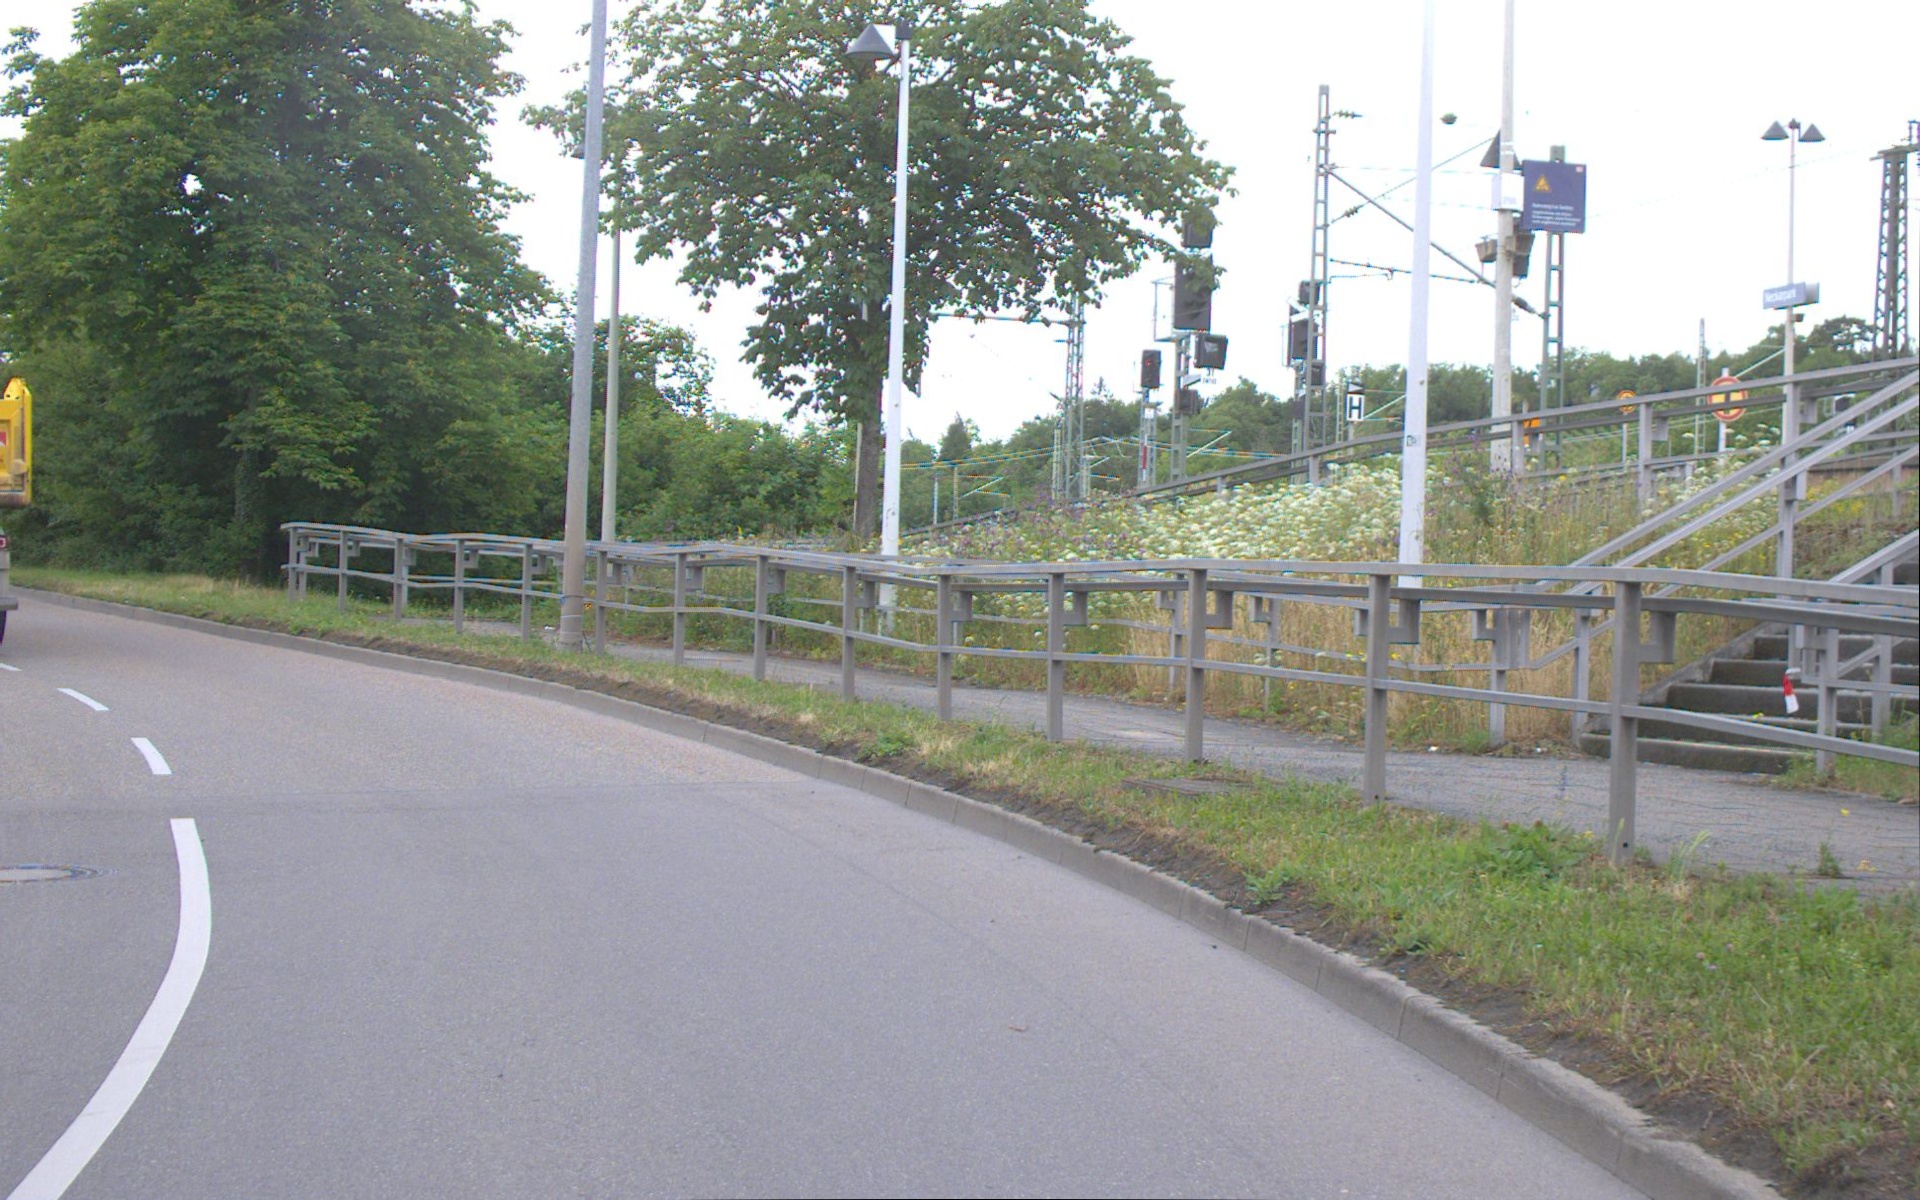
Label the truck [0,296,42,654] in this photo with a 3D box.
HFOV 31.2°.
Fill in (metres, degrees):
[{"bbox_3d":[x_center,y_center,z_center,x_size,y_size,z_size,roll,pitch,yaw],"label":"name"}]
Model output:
[{"bbox_3d":[-11.934,-1.355,36.535,2.764,3.471,8.131,0,2,-25],"label":"truck"}]
